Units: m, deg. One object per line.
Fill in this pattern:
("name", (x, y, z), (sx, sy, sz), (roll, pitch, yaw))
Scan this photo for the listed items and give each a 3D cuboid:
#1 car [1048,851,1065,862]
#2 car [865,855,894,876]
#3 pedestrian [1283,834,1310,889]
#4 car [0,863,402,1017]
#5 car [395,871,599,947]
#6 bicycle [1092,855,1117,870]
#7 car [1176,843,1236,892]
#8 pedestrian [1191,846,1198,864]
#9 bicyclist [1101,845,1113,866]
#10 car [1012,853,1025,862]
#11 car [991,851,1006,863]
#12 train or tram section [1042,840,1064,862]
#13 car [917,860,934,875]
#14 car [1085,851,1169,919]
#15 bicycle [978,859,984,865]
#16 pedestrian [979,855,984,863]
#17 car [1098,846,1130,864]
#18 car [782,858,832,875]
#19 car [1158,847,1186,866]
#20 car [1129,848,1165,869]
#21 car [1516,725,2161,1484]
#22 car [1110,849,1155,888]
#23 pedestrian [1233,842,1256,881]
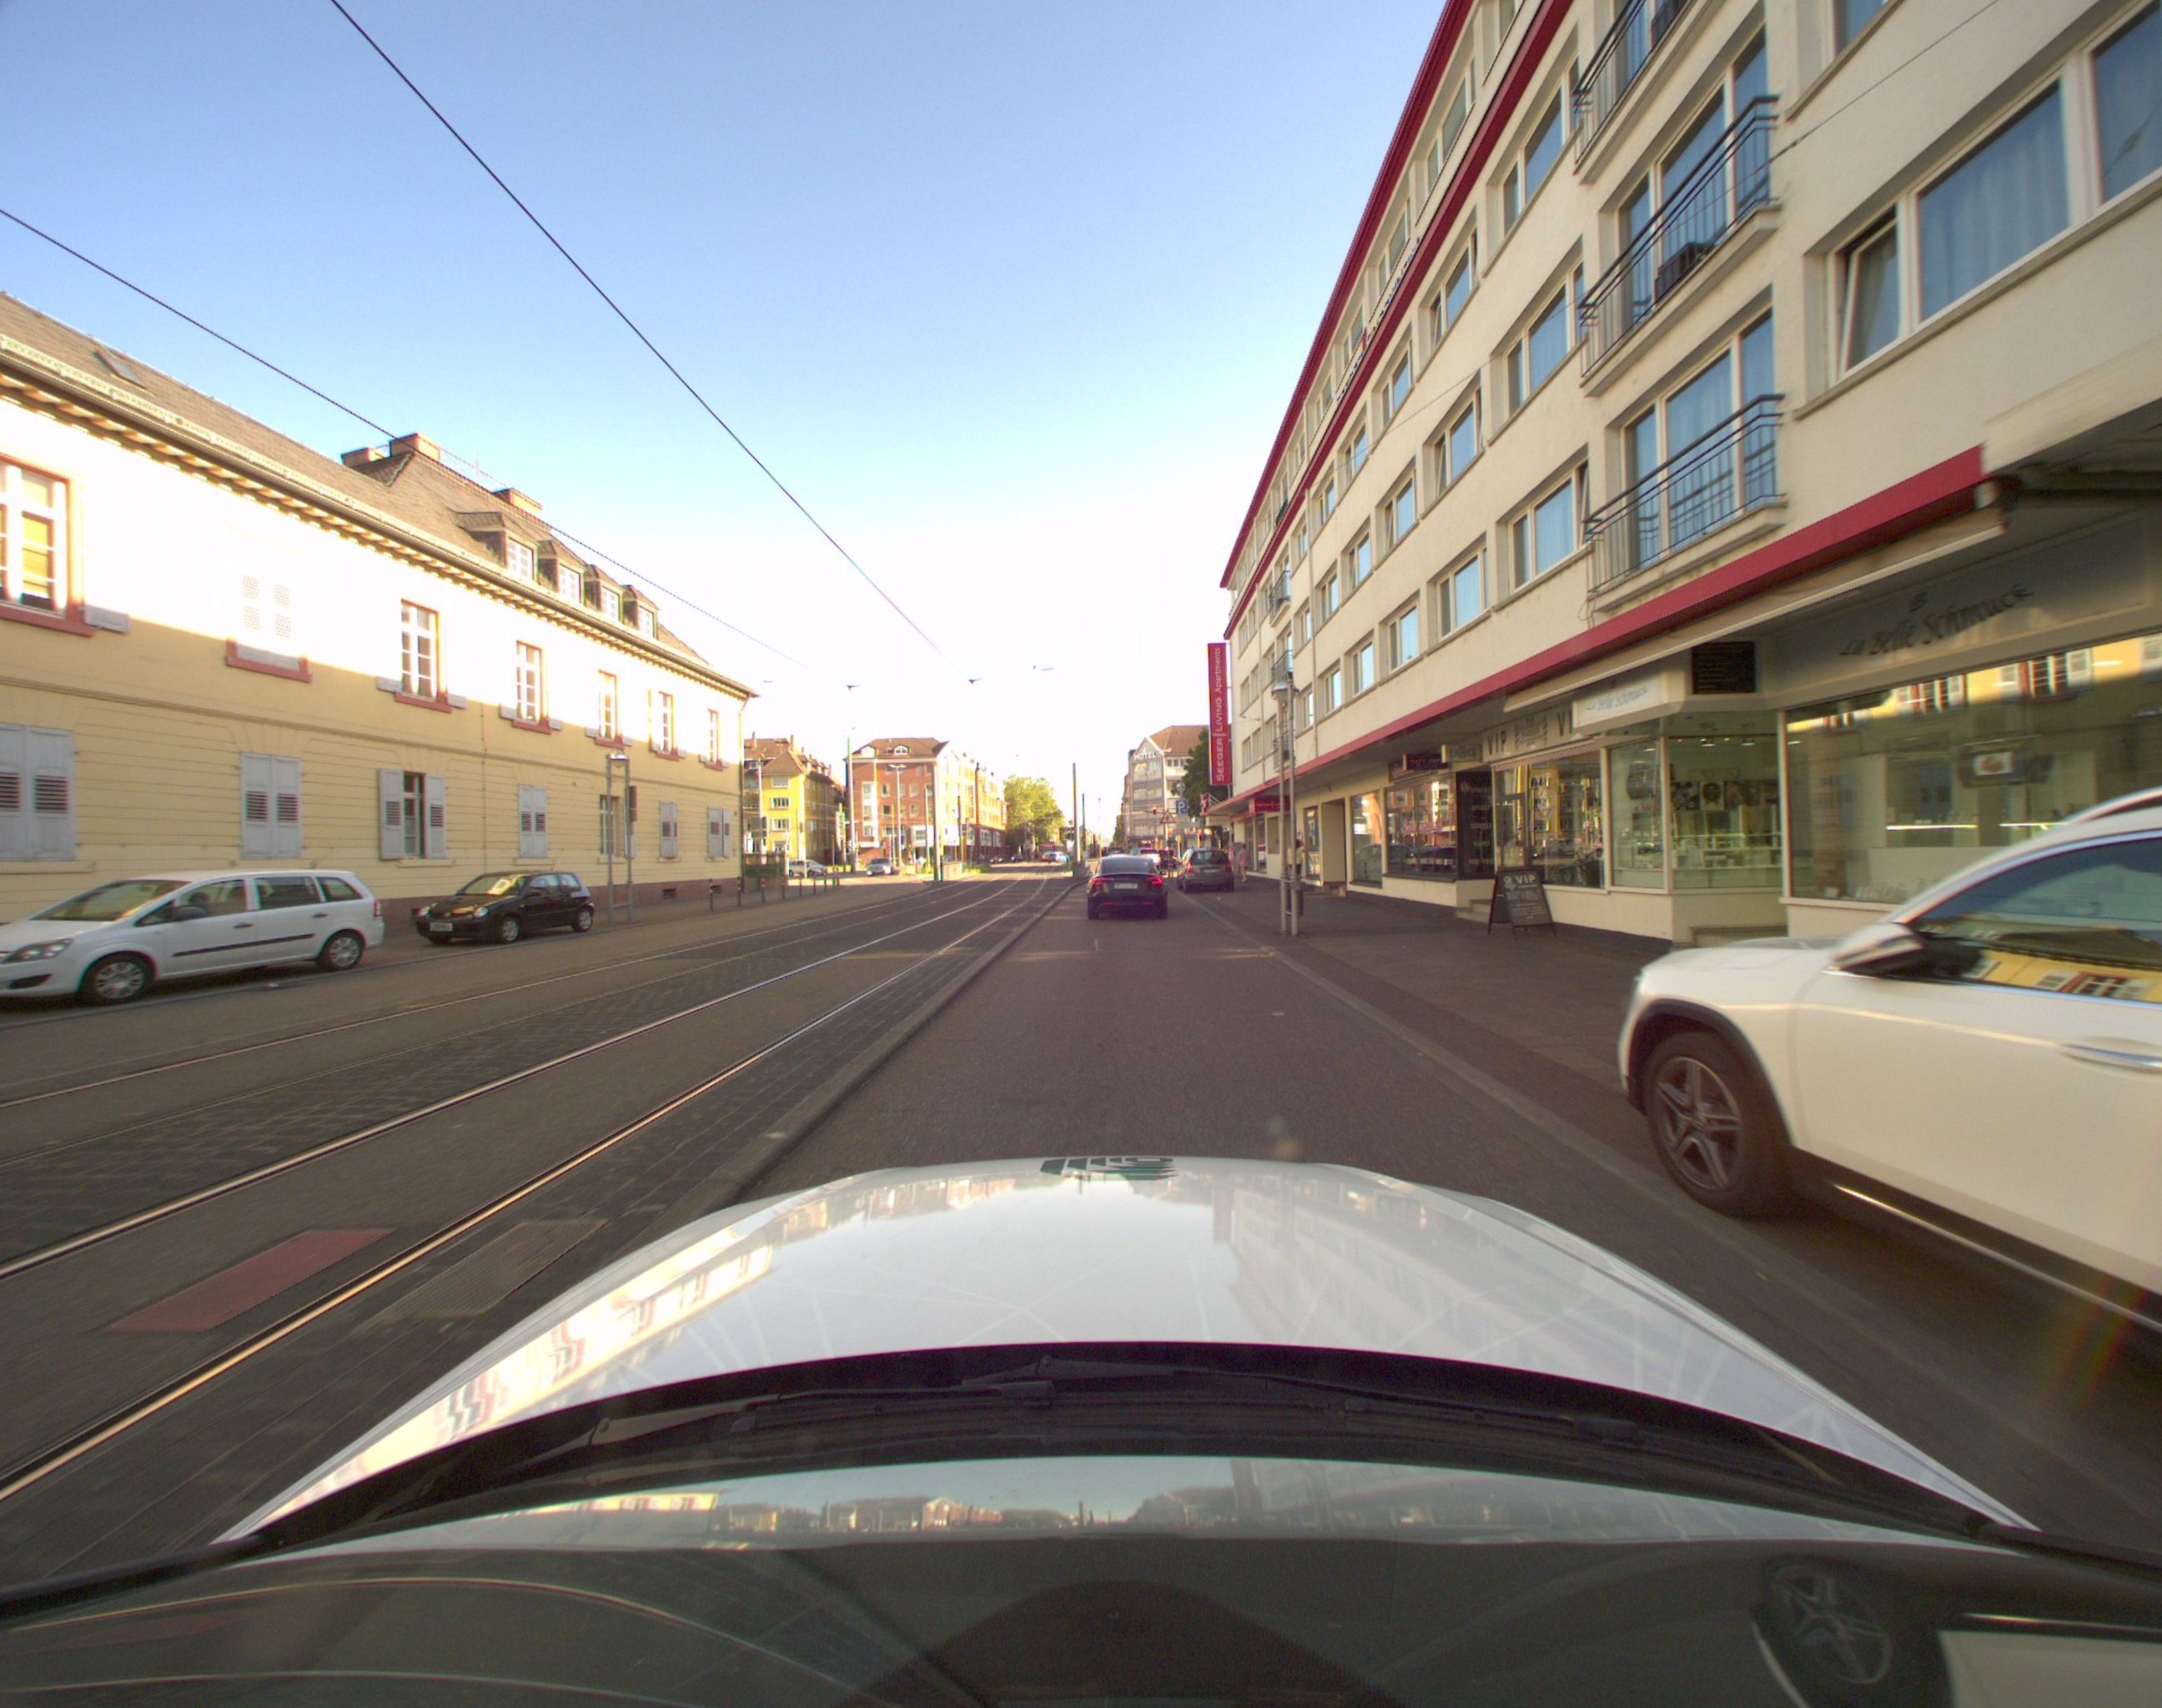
("car", (-3.391, 0.360, 113.768), (1.984, 1.420, 4.006), (0, 0, 5))
("car", (-15.852, 0.903, 64.201), (1.881, 1.495, 4.912), (-2, 0, -10))
("pedestrian", (7.109, 0.237, 26.870), (0.797, 1.774, 0.936), (-2, -1, 16))
("car", (-12.617, 0.998, 11.542), (1.799, 1.685, 4.654), (0, 0, 5))
("car", (-12.337, 1.094, 17.527), (1.608, 1.400, 3.721), (0, 0, 2))
("bicycle", (1.686, 0.602, 58.673), (1.725, 1.088, 0.677), (0, 0, -6))
("car", (4.519, 0.451, 29.928), (1.738, 1.632, 3.651), (-3, 0, 3))
("pedestrian", (10.452, 0.074, 75.126), (0.626, 1.613, 0.644), (0, 0, 6))
("bicyclist", (1.882, 0.138, 58.713), (0.835, 1.500, 0.559), (0, -1, -6))
("car", (-10.962, 0.637, 143.436), (1.744, 1.651, 4.003), (0, 0, 3))
("car", (-14.286, 0.522, 140.694), (1.985, 2.013, 4.003), (-2, 0, 3))
("train or tram section", (-4.851, -0.492, 142.938), (2.663, 3.715, 14.202), (0, 0, 3))
("car", (-16.386, 1.379, 85.882), (1.765, 1.512, 4.264), (-1, 0, -11))
("car", (1.043, 0.688, 19.752), (1.842, 1.484, 3.788), (0, 0, 1))
("bicycle", (-16.660, 1.325, 136.071), (0.699, 0.855, 2.054), (-2, 0, 2))
("pedestrian", (-16.680, 0.916, 135.967), (0.693, 1.308, 0.564), (-2, 0, 1))
("car", (2.734, 0.083, 68.924), (1.825, 1.519, 4.203), (0, 0, -10))
("car", (-26.579, 1.208, 78.954), (4.551, 1.556, 1.826), (0, 0, 26))
("car", (7.687, 0.212, 69.134), (1.820, 1.519, 3.645), (0, 0, -3))
("car", (4.836, 0.342, 59.981), (1.782, 1.519, 4.206), (0, 0, -8))
("car", (3.341, 0.524, 1.976), (1.842, 1.724, 5.195), (-3, 0, 2))
("car", (2.016, 0.529, 32.263), (1.646, 1.418, 4.003), (0, 1, 3))
("pedestrian", (7.136, 0.308, 35.579), (0.810, 1.683, 0.719), (0, -1, 25))
